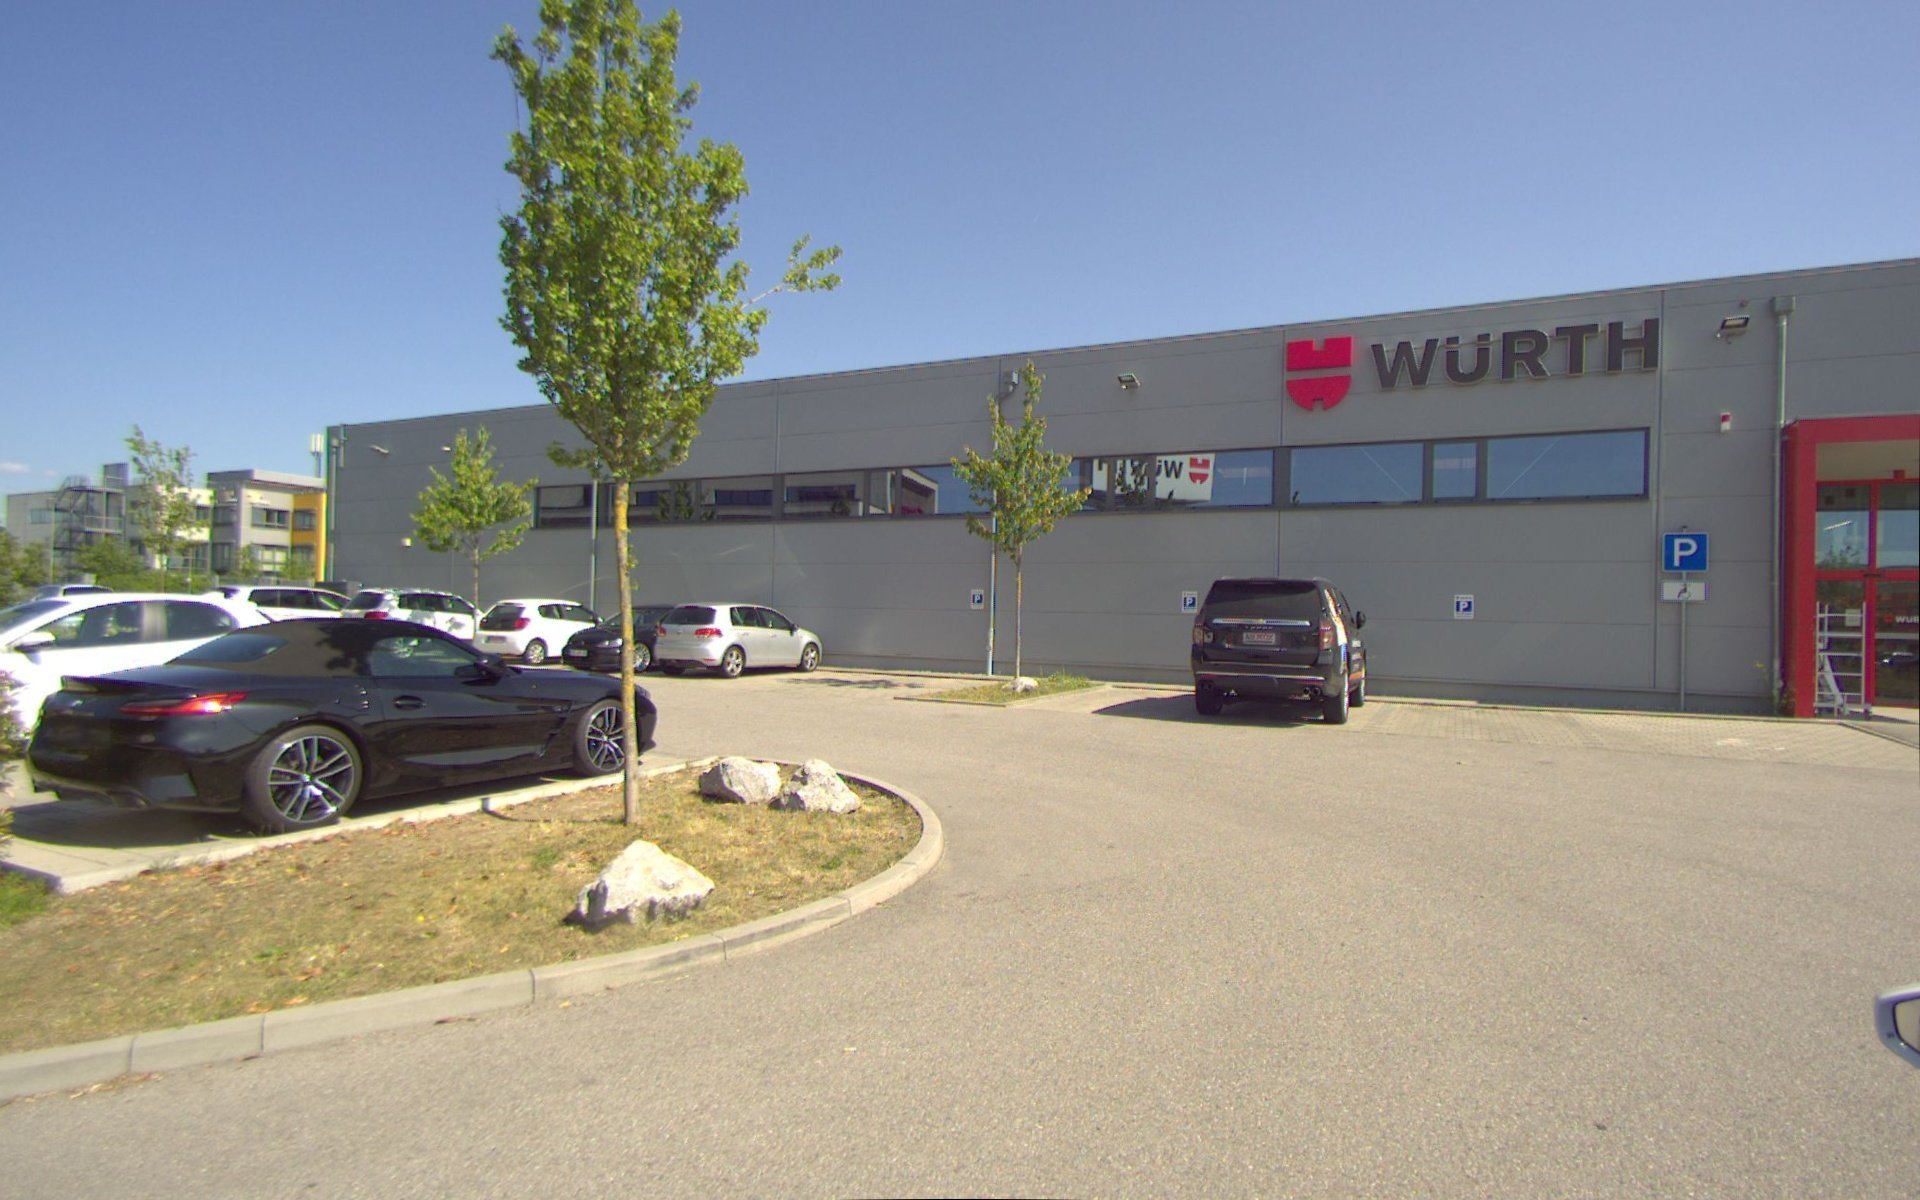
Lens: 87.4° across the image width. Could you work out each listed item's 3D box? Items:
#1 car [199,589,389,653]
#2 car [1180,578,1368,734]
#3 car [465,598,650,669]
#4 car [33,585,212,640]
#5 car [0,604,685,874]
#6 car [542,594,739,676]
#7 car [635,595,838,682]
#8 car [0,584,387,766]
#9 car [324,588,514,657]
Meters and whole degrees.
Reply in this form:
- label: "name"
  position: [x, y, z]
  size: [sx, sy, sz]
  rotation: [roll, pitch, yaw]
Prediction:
- label: "car"
  position: [-17.875, 0.538, 27.138]
  size: [1.705, 1.588, 3.945]
  rotation: [1, 0, 28]
- label: "car"
  position: [4.824, 0.699, 14.909]
  size: [2.038, 1.905, 4.875]
  rotation: [1, 0, 25]
- label: "car"
  position: [-9.323, 0.726, 23.619]
  size: [1.704, 1.507, 3.948]
  rotation: [1, 0, 25]
- label: "car"
  position: [-25.978, 0.385, 31.313]
  size: [1.705, 1.588, 3.945]
  rotation: [1, 0, 28]
- label: "car"
  position: [-4.268, 0.746, 7.590]
  size: [1.833, 1.380, 4.373]
  rotation: [1, 0, 25]
- label: "car"
  position: [-6.878, 0.715, 22.094]
  size: [1.850, 1.607, 4.105]
  rotation: [1, 0, 25]
- label: "car"
  position: [-4.555, 0.741, 21.176]
  size: [1.917, 1.607, 4.373]
  rotation: [1, 0, 25]
- label: "car"
  position: [-8.435, 0.648, 10.025]
  size: [1.919, 1.551, 4.368]
  rotation: [1, 0, 30]
- label: "car"
  position: [-13.498, 0.544, 25.298]
  size: [1.705, 1.588, 3.947]
  rotation: [1, 0, 26]
